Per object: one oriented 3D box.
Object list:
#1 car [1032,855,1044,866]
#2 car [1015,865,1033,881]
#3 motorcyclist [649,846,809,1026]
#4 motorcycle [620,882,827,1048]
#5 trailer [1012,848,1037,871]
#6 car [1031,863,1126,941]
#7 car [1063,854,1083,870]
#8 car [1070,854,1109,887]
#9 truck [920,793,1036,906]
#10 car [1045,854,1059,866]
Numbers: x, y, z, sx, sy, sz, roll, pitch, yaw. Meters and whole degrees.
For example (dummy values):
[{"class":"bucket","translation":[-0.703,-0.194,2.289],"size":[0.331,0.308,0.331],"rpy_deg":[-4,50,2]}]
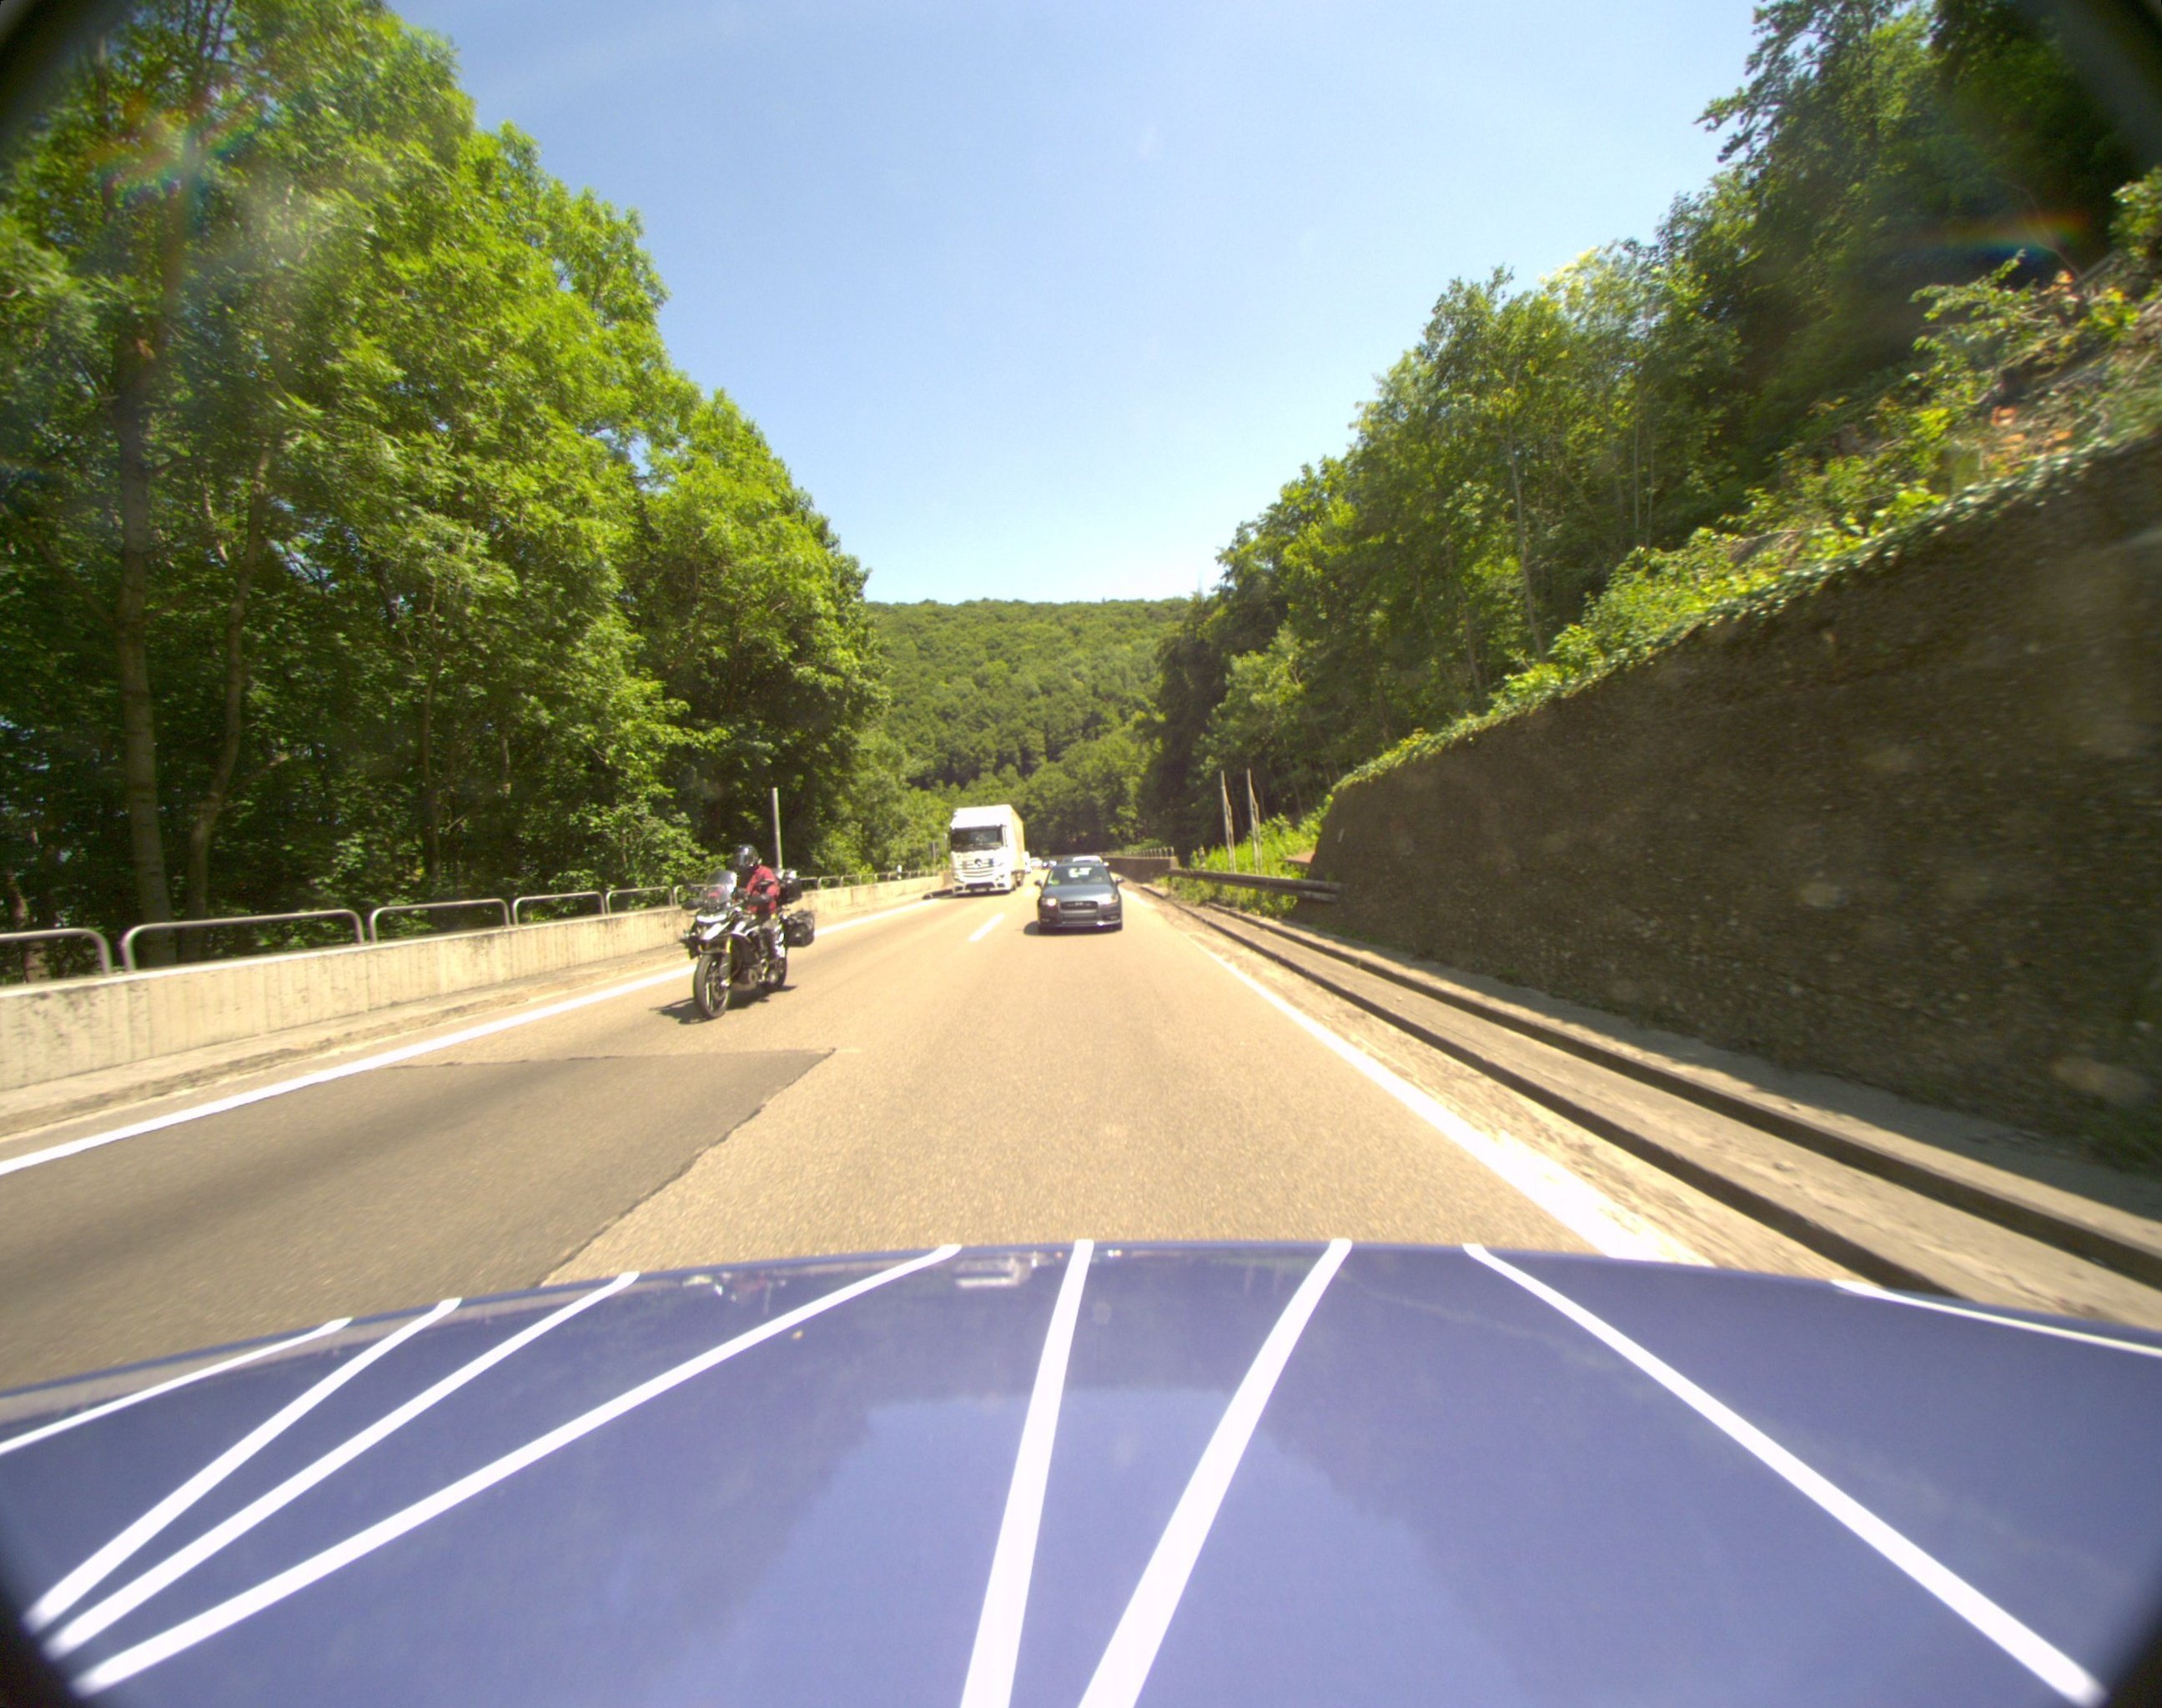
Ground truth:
[{"class":"car","translation":[-6.598,0.979,116.594],"size":[1.619,1.487,3.654],"rpy_deg":[-2,0,-7]},{"class":"car","translation":[-6.506,2.168,86.796],"size":[1.999,1.652,3.998],"rpy_deg":[-2,0,-5]},{"class":"motorcyclist","translation":[-3.827,0.838,8.410],"size":[1.063,1.790,1.338],"rpy_deg":[-2,0,0]},{"class":"motorcycle","translation":[-3.794,1.085,8.446],"size":[0.975,1.411,2.681],"rpy_deg":[-2,0,0]},{"class":"trailer","translation":[-7.032,0.661,95.655],"size":[2.528,2.694,9.503],"rpy_deg":[-1,0,-2]},{"class":"car","translation":[-0.097,0.943,16.485],"size":[1.755,1.350,4.121],"rpy_deg":[-2,0,-2]},{"class":"car","translation":[-0.845,0.802,75.719],"size":[1.756,1.480,3.981],"rpy_deg":[-2,0,-3]},{"class":"car","translation":[0.421,0.773,37.033],"size":[1.755,1.460,3.982],"rpy_deg":[-2,0,1]},{"class":"truck","translation":[-4.439,-0.246,37.541],"size":[2.969,4.108,16.706],"rpy_deg":[-4,0,1]},{"class":"car","translation":[-3.930,0.852,103.693],"size":[1.619,1.487,3.654],"rpy_deg":[-3,0,-5]}]
